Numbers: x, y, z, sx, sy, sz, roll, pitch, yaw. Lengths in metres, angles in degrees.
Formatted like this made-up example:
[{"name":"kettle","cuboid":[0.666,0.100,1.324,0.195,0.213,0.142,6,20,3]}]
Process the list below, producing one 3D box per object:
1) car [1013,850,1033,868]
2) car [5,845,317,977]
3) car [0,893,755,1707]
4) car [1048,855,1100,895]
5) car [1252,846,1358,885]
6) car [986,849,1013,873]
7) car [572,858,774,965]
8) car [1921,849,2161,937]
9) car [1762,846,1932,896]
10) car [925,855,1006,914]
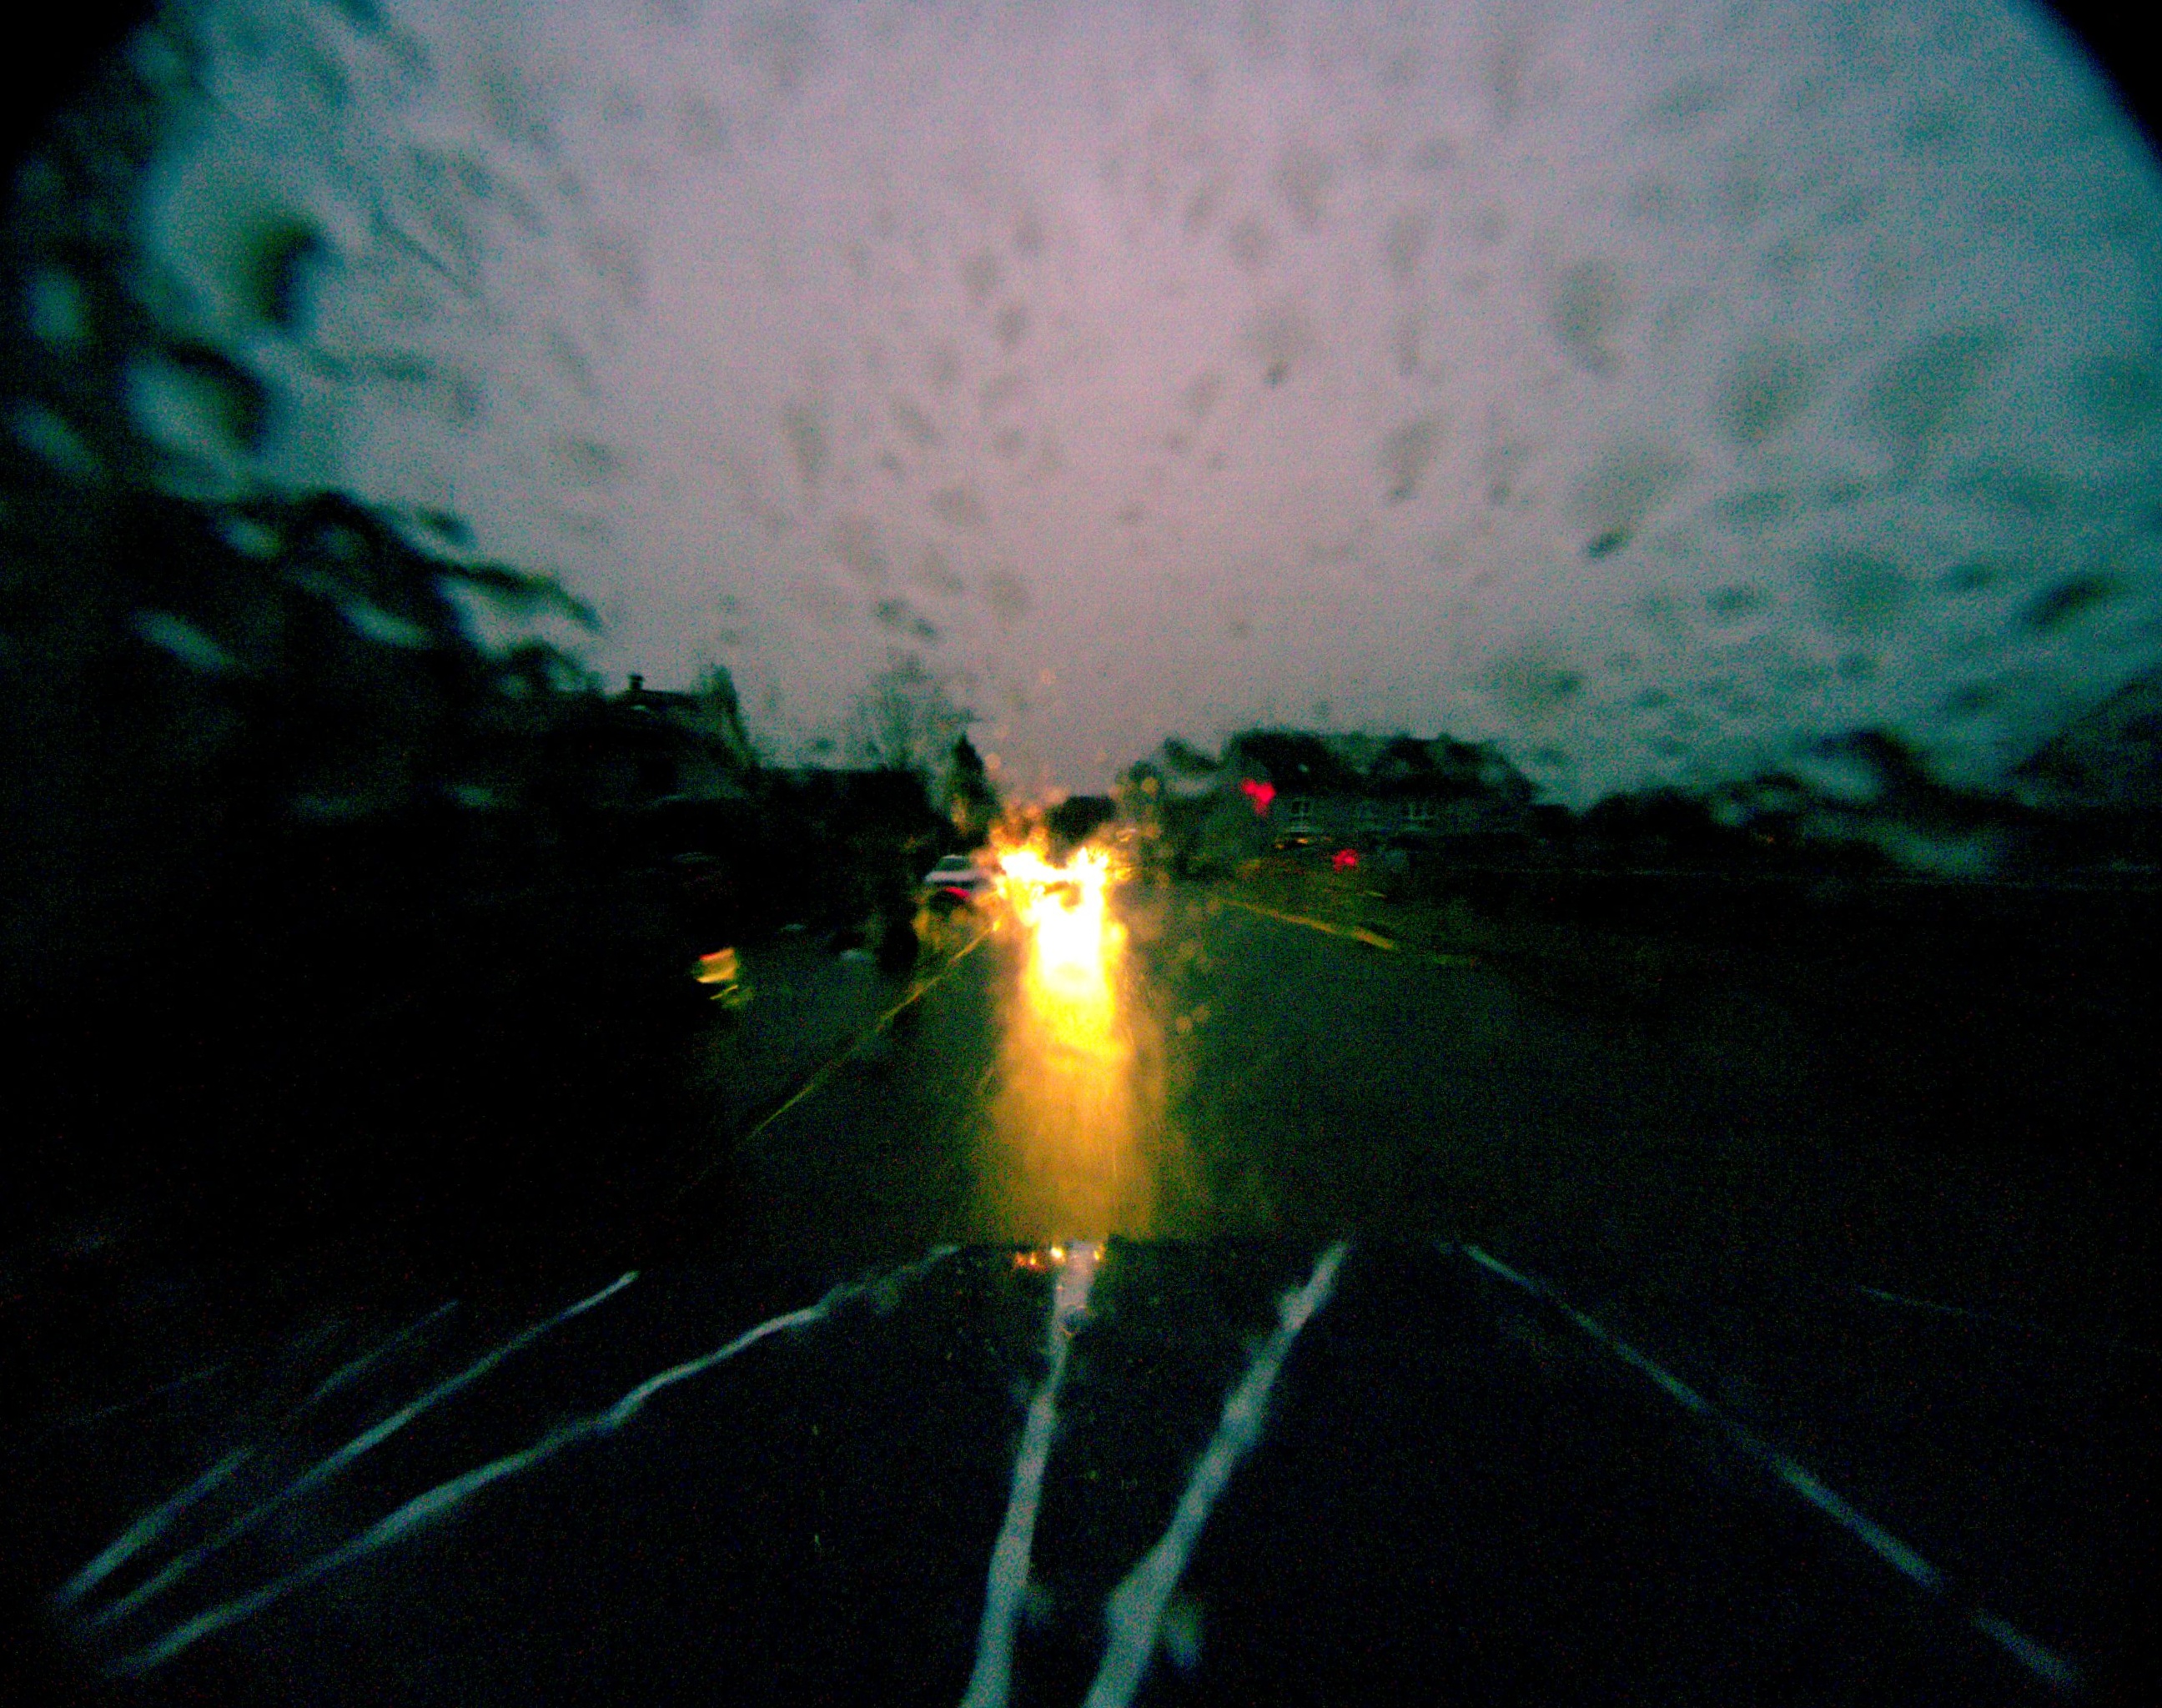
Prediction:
[{"name":"car","cuboid":[-5.669,0.494,74.464,1.907,1.630,4.564,1,0,-4]},{"name":"car","cuboid":[-13.035,0.700,10.788,3.764,1.583,1.706,1,0,21]},{"name":"car","cuboid":[-3.022,0.994,3.066,1.707,1.443,4.191,1,0,-2]},{"name":"car","cuboid":[-0.358,0.862,31.789,1.999,1.525,4.000,-2,-1,-3]},{"name":"car","cuboid":[10.541,0.532,35.962,4.345,1.611,1.999,-2,0,-5]},{"name":"car","cuboid":[-6.275,0.509,58.175,1.917,1.780,4.563,1,0,-8]},{"name":"car","cuboid":[-6.930,0.864,13.456,1.813,1.543,4.301,1,0,-9]},{"name":"car","cuboid":[24.848,0.879,19.360,1.999,1.893,4.357,-3,0,-1]},{"name":"car","cuboid":[24.798,0.483,24.800,1.680,1.406,3.833,-3,1,0]},{"name":"car","cuboid":[-3.382,0.840,22.935,1.812,1.555,4.304,1,0,-1]}]
